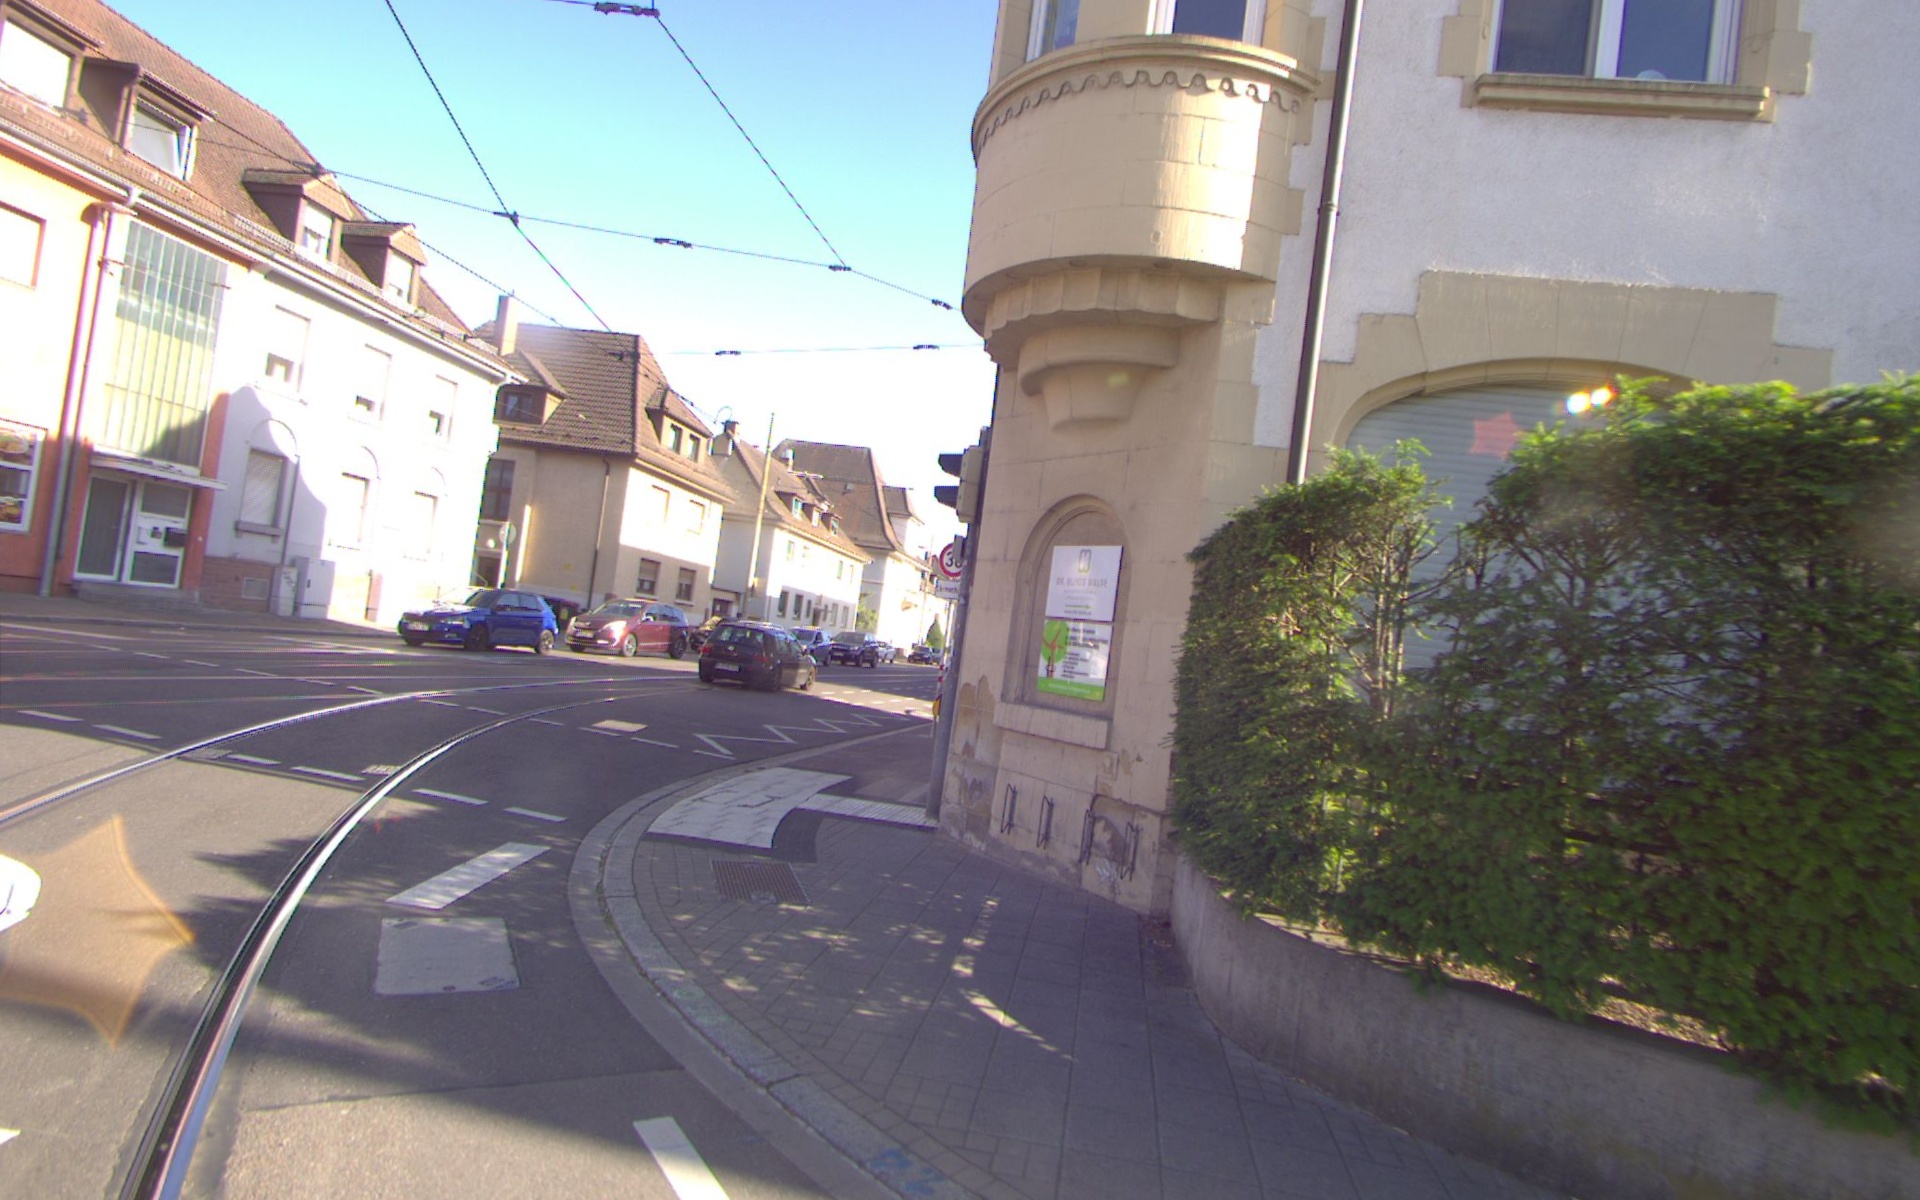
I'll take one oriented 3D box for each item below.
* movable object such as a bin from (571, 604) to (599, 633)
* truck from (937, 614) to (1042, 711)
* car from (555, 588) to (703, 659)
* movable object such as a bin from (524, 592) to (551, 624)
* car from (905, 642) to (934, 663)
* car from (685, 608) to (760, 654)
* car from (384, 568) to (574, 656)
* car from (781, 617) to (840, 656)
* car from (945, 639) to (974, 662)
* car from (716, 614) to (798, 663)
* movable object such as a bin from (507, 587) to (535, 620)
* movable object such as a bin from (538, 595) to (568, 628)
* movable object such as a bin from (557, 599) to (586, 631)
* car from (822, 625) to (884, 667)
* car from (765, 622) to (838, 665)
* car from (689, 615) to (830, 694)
[{"bbox_3d":[-14.100,0.708,37.830,0.647,0.955,0.583,10,-1,9],"label":"movable object such as a bin"},{"bbox_3d":[1.085,1.971,31.788,2.259,2.505,6.155,7,-2,10],"label":"truck"},{"bbox_3d":[-9.377,0.756,28.987,1.710,1.629,4.721,6,-3,13],"label":"car"},{"bbox_3d":[-16.037,0.311,38.182,0.560,1.124,0.591,10,-1,9],"label":"movable object such as a bin"},{"bbox_3d":[-3.327,4.318,83.207,1.636,1.494,4.256,7,-2,6],"label":"car"},{"bbox_3d":[-9.903,1.346,42.213,1.589,1.646,3.928,6,-3,9],"label":"car"},{"bbox_3d":[-10.555,0.342,22.414,1.657,1.585,3.934,5,-3,11],"label":"car"},{"bbox_3d":[-7.962,2.000,53.925,1.734,1.724,4.563,6,-3,9],"label":"car"},{"bbox_3d":[-0.058,5.247,103.669,1.876,2.036,4.956,9,-2,11],"label":"car"},{"bbox_3d":[-7.296,1.436,36.500,1.557,1.477,3.619,6,-3,11],"label":"car"},{"bbox_3d":[-16.712,0.144,38.314,0.605,1.124,0.591,10,-1,9],"label":"movable object such as a bin"},{"bbox_3d":[-15.415,0.451,38.108,0.632,1.124,0.673,10,-1,9],"label":"movable object such as a bin"},{"bbox_3d":[-14.681,0.580,38.001,0.606,1.092,0.673,10,-1,9],"label":"movable object such as a bin"},{"bbox_3d":[-5.157,2.279,49.026,1.676,1.724,4.371,7,-3,10],"label":"car"},{"bbox_3d":[-6.410,1.809,41.124,1.591,1.477,4.082,6,-3,10],"label":"car"},{"bbox_3d":[-4.424,1.257,22.831,1.688,1.418,4.012,7,-3,10],"label":"car"}]
